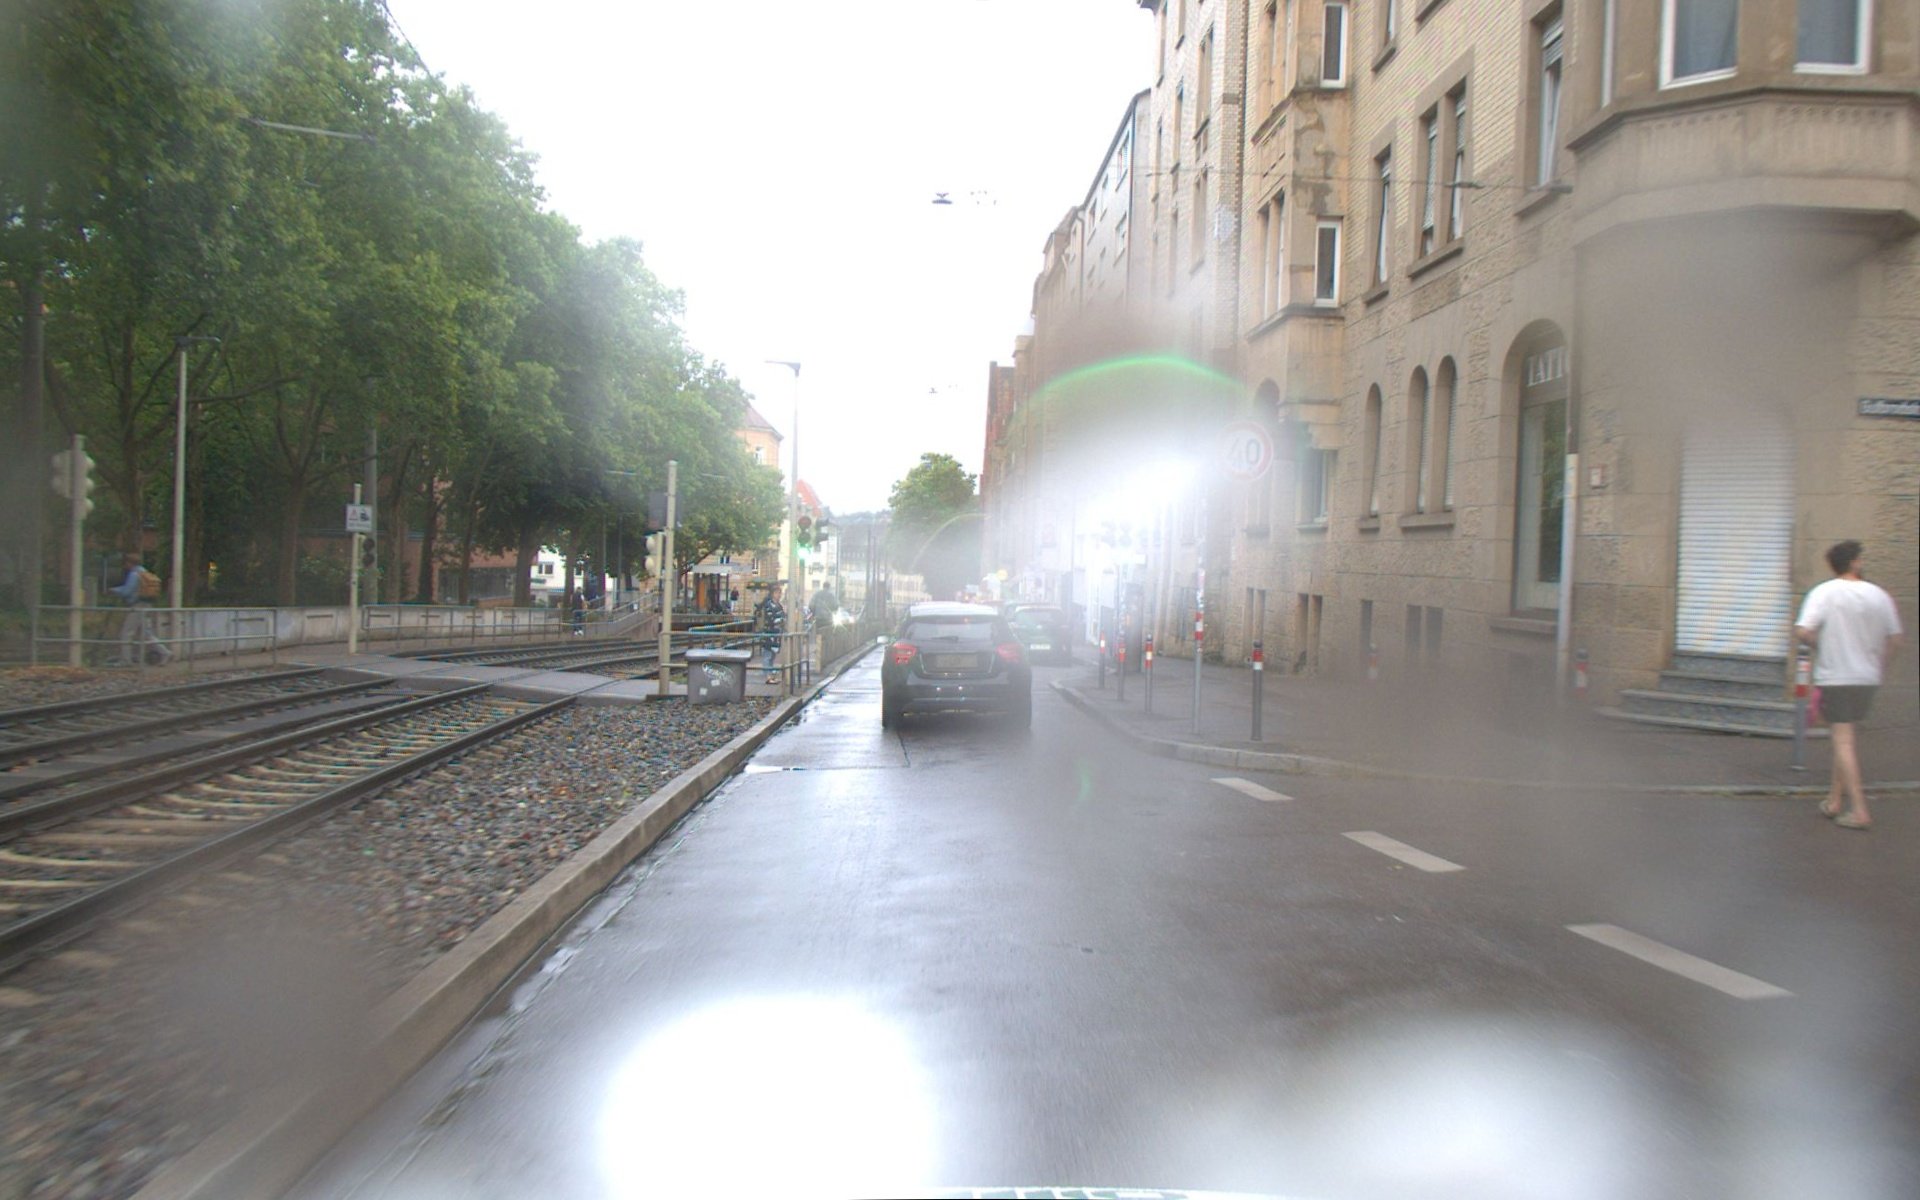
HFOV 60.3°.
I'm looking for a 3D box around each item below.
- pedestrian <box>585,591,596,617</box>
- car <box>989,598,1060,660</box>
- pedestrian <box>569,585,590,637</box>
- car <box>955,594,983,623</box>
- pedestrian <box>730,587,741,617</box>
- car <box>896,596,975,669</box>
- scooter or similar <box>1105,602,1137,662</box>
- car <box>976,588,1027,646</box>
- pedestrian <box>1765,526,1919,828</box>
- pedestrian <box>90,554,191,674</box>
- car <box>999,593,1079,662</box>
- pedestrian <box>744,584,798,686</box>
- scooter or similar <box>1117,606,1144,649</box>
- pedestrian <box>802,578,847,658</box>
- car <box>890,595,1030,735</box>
[{"bbox_3d":[-22.479,0.238,100.646,0.508,1.624,0.600,0,0,-1],"label":"pedestrian"},{"bbox_3d":[1.795,0.780,47.061,1.724,1.606,3.999,-1,1,-2],"label":"car"},{"bbox_3d":[-13.422,0.387,58.342,0.523,1.784,0.607,3,0,-1],"label":"pedestrian"},{"bbox_3d":[0.603,0.607,119.705,1.953,2.049,4.000,-1,1,-1],"label":"car"},{"bbox_3d":[-13.306,0.144,98.166,0.508,1.747,0.551,3,0,-1],"label":"pedestrian"},{"bbox_3d":[-0.595,0.733,39.276,1.749,1.609,3.999,1,0,-1],"label":"car"},{"bbox_3d":[3.774,0.729,38.881,0.439,1.344,1.776,-1,1,-4],"label":"scooter or similar"},{"bbox_3d":[1.537,0.613,62.536,1.724,2.049,3.999,-1,1,-2],"label":"car"},{"bbox_3d":[5.585,0.464,10.384,0.680,1.818,0.758,-1,0,3],"label":"pedestrian"},{"bbox_3d":[-12.405,0.204,25.053,1.033,1.748,0.904,1,0,0],"label":"pedestrian"},{"bbox_3d":[2.010,0.670,42.909,1.790,1.646,3.863,-1,1,-1],"label":"car"},{"bbox_3d":[-3.160,0.565,27.677,0.789,1.662,0.892,-1,0,-1],"label":"pedestrian"},{"bbox_3d":[5.557,0.898,53.871,0.440,1.344,1.774,-1,1,-8],"label":"scooter or similar"},{"bbox_3d":[-3.481,0.452,42.605,1.115,2.033,1.171,-1,1,-5],"label":"pedestrian"},{"bbox_3d":[-0.051,0.720,20.197,1.548,1.531,3.573,1,0,-2],"label":"car"}]
